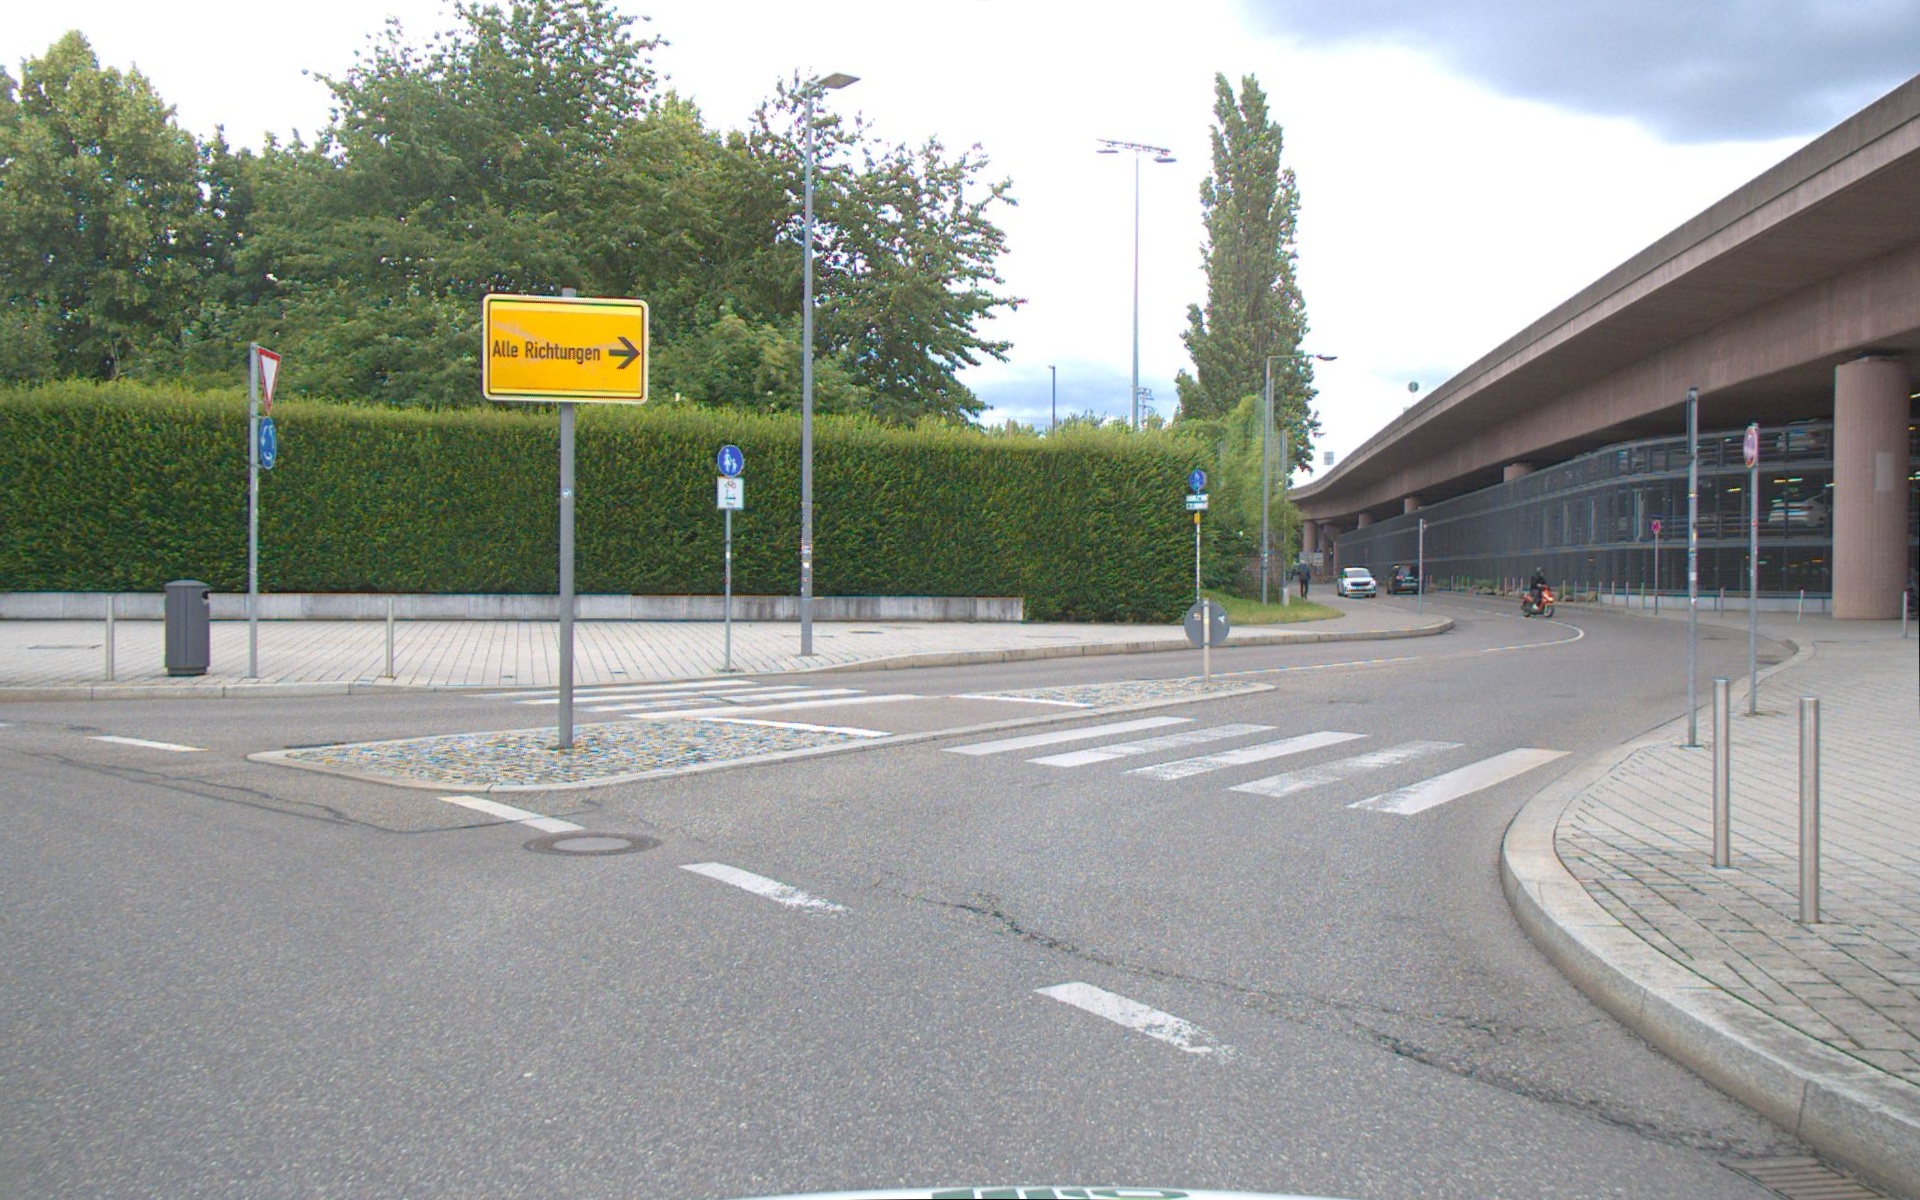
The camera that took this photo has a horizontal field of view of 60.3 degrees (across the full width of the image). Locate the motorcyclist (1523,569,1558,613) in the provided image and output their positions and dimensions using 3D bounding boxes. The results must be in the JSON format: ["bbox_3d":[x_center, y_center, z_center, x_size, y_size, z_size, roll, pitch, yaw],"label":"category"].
[{"bbox_3d":[19.241,-0.310,54.838,0.749,1.444,0.866,-1,2,-16],"label":"motorcyclist"}]

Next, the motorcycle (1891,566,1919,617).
[{"bbox_3d":[28.502,-0.263,49.029,0.629,1.480,1.760,-1,2,-7],"label":"motorcycle"}]

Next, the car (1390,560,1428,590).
[{"bbox_3d":[27.123,-1.517,99.988,1.800,1.741,3.709,0,2,9],"label":"car"}]

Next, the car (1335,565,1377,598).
[{"bbox_3d":[22.545,-1.071,94.353,1.824,1.712,4.409,0,2,7],"label":"car"}]

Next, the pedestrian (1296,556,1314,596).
[{"bbox_3d":[15.871,-1.095,76.087,0.786,1.811,0.921,0,2,12],"label":"pedestrian"}]

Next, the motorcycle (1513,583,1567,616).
[{"bbox_3d":[19.232,-0.031,54.896,0.734,1.040,1.949,-1,2,-15],"label":"motorcycle"}]
